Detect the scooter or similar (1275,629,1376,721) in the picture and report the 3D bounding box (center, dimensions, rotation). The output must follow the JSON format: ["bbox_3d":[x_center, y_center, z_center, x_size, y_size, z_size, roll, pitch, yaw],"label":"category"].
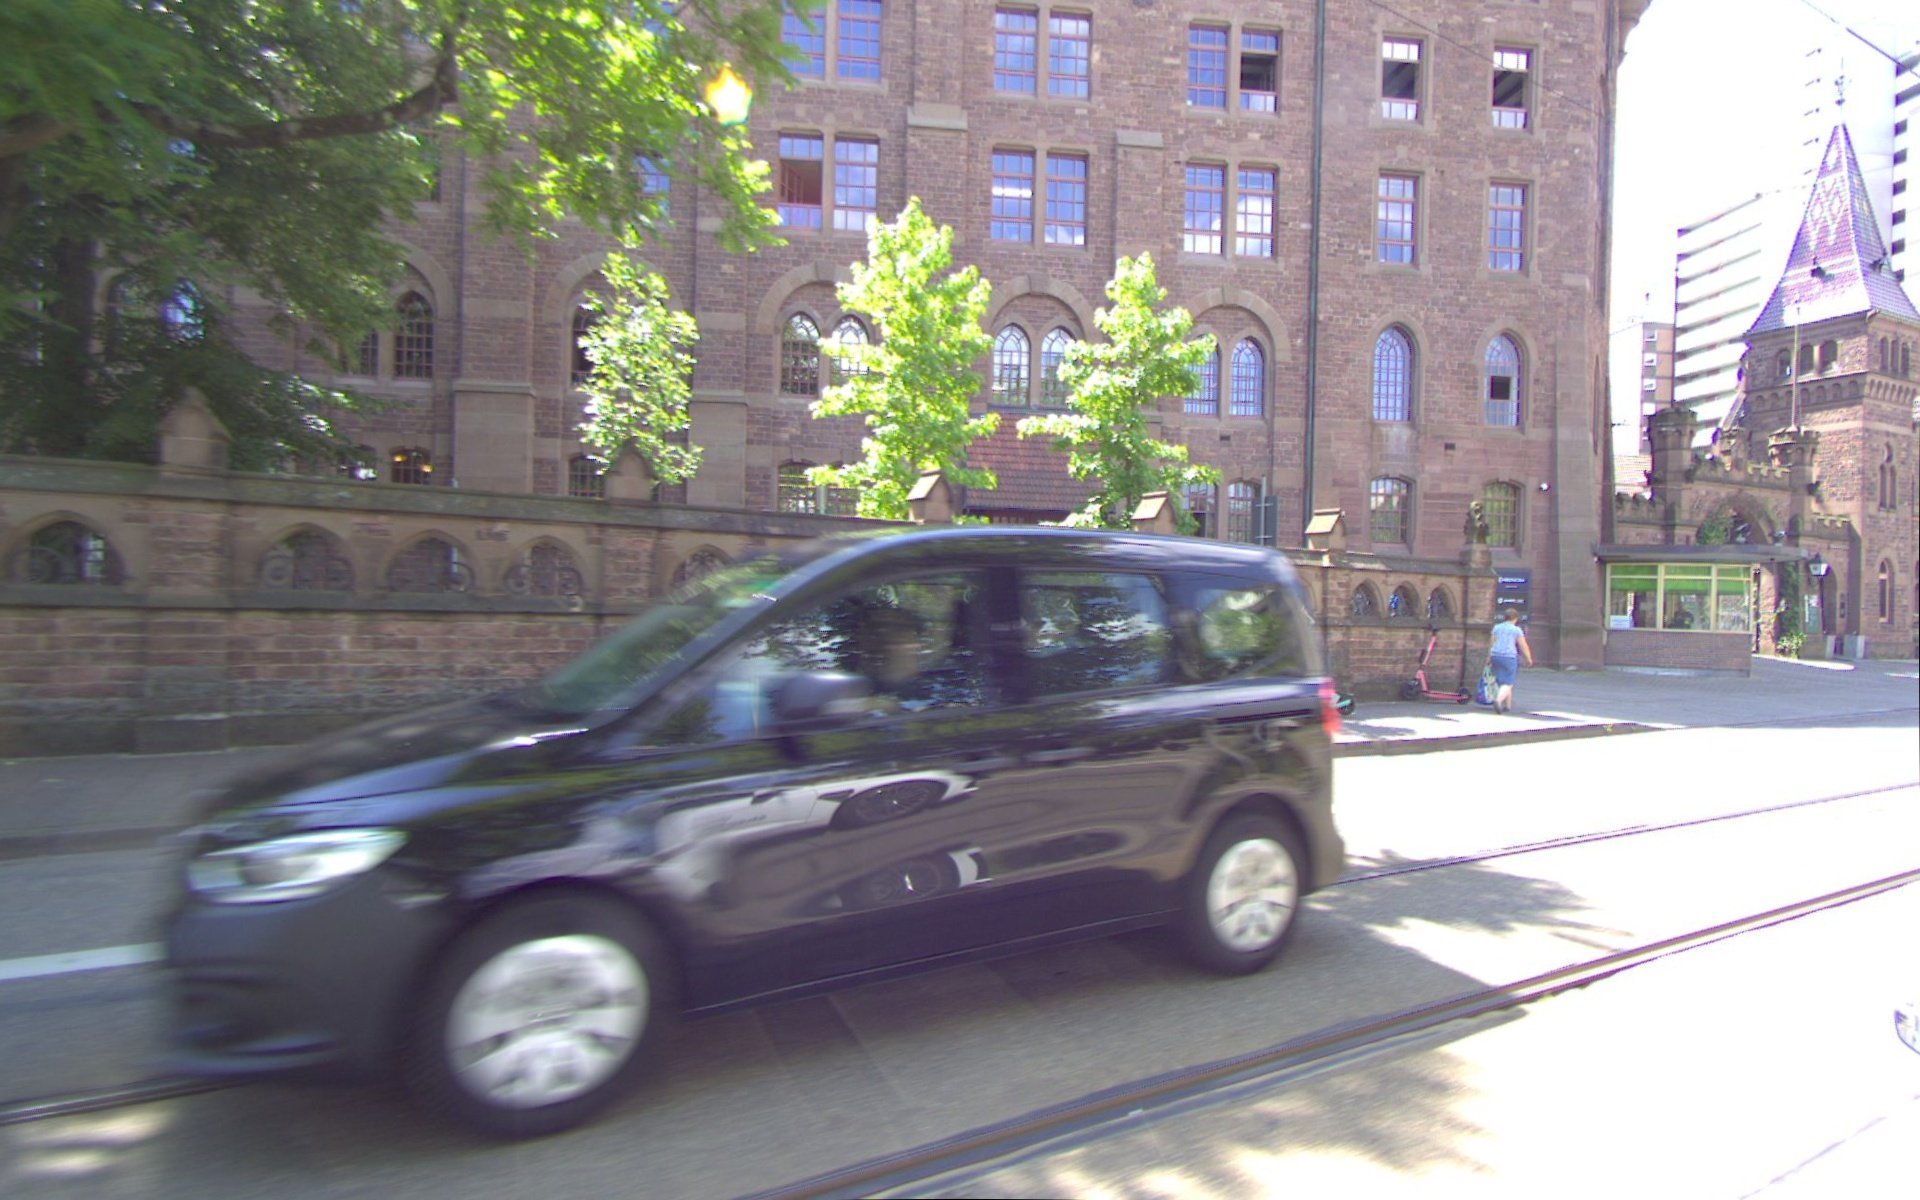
[{"bbox_3d":[4.985,1.017,13.739,1.200,1.142,0.349,3,1,14],"label":"scooter or similar"}]

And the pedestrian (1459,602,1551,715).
[{"bbox_3d":[8.299,0.871,15.316,0.909,1.610,0.795,1,3,-30],"label":"pedestrian"}]

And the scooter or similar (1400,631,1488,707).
[{"bbox_3d":[7.668,1.092,15.936,1.199,1.142,0.329,2,1,-2],"label":"scooter or similar"}]

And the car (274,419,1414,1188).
[{"bbox_3d":[-0.252,0.537,4.267,4.206,1.812,1.895,2,-1,-30],"label":"car"}]
